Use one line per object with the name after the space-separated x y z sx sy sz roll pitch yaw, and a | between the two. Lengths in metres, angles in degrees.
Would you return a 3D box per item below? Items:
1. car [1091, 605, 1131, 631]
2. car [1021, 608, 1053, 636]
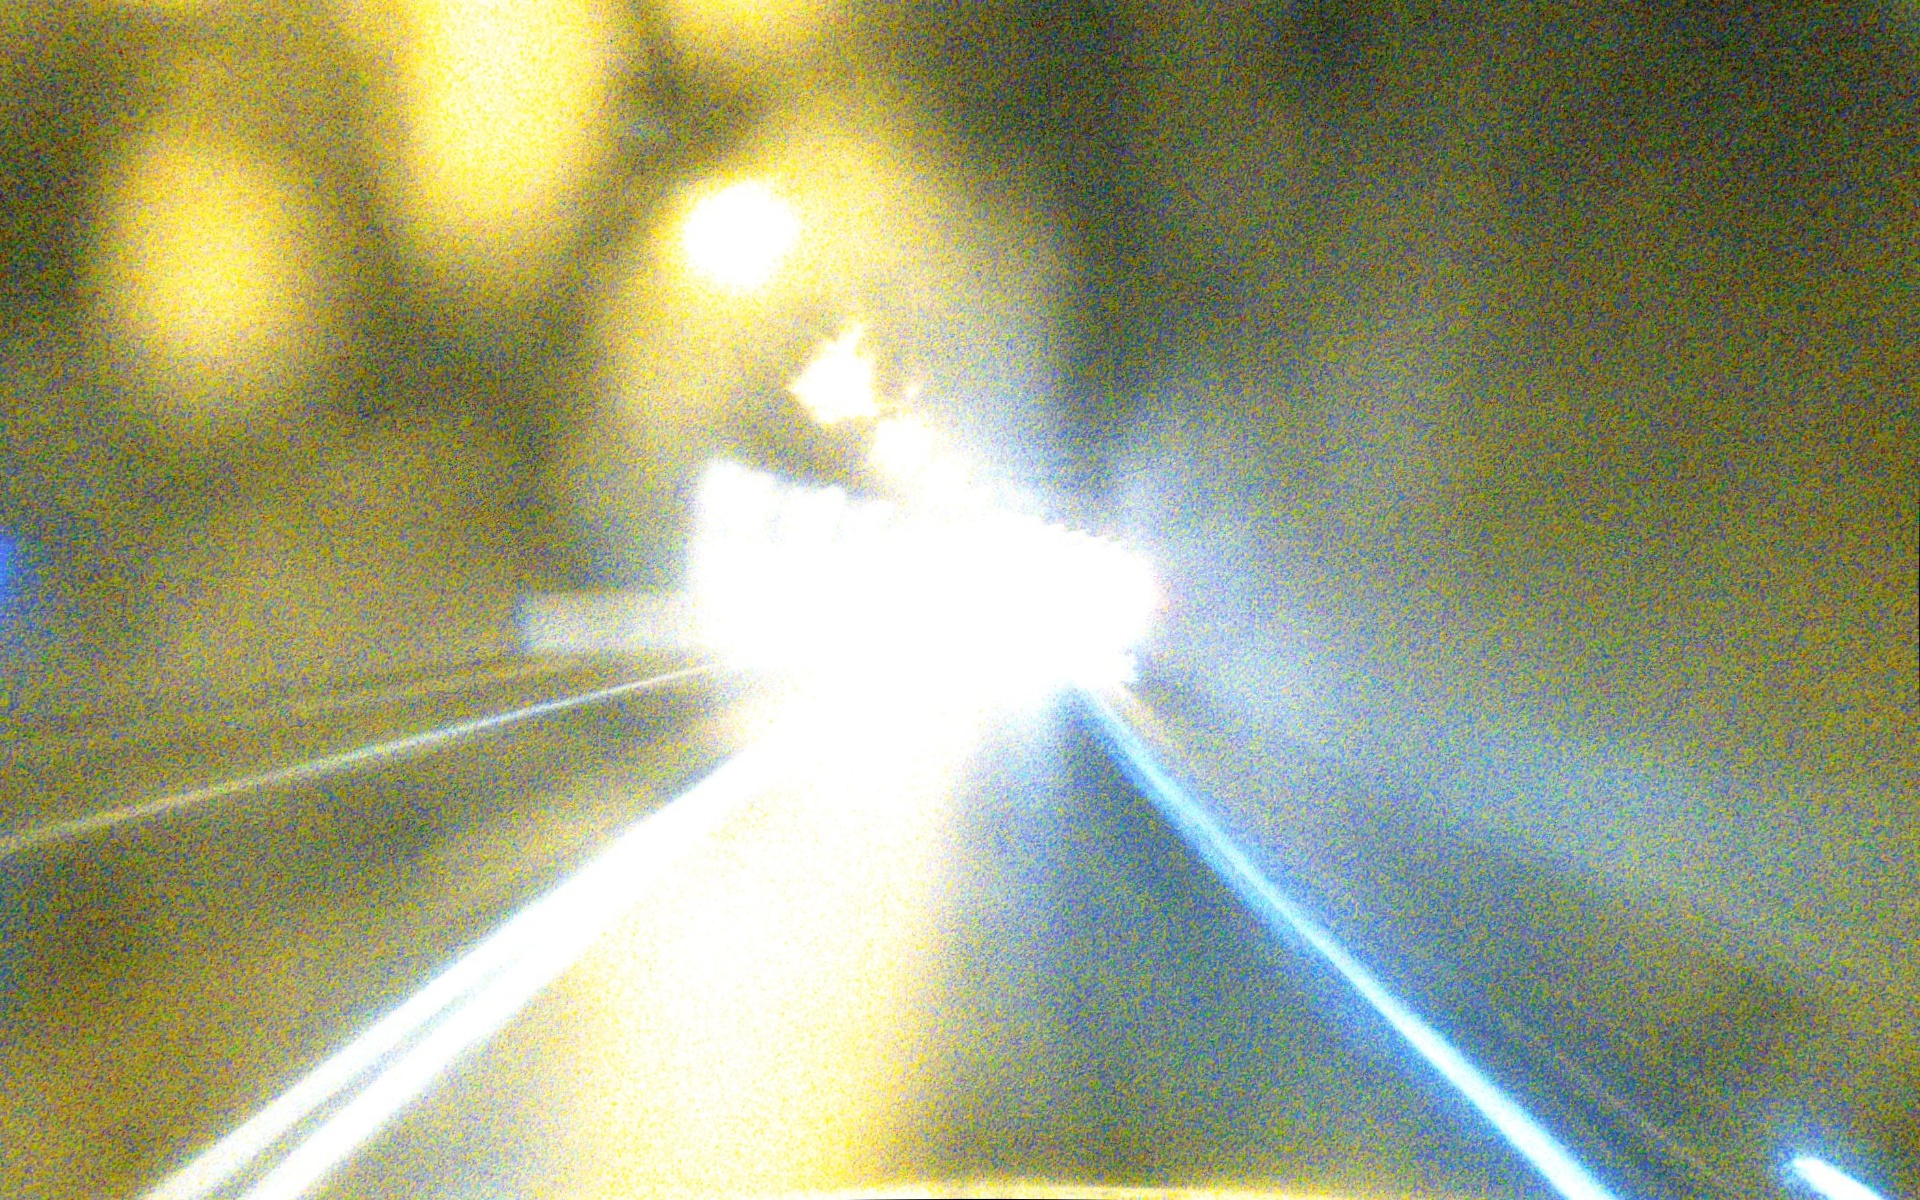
10.437 1.209 114.095 1.951 1.679 4.002 2 0 16 | car
4.559 1.305 97.590 1.673 1.536 4.081 2 0 4 | car
